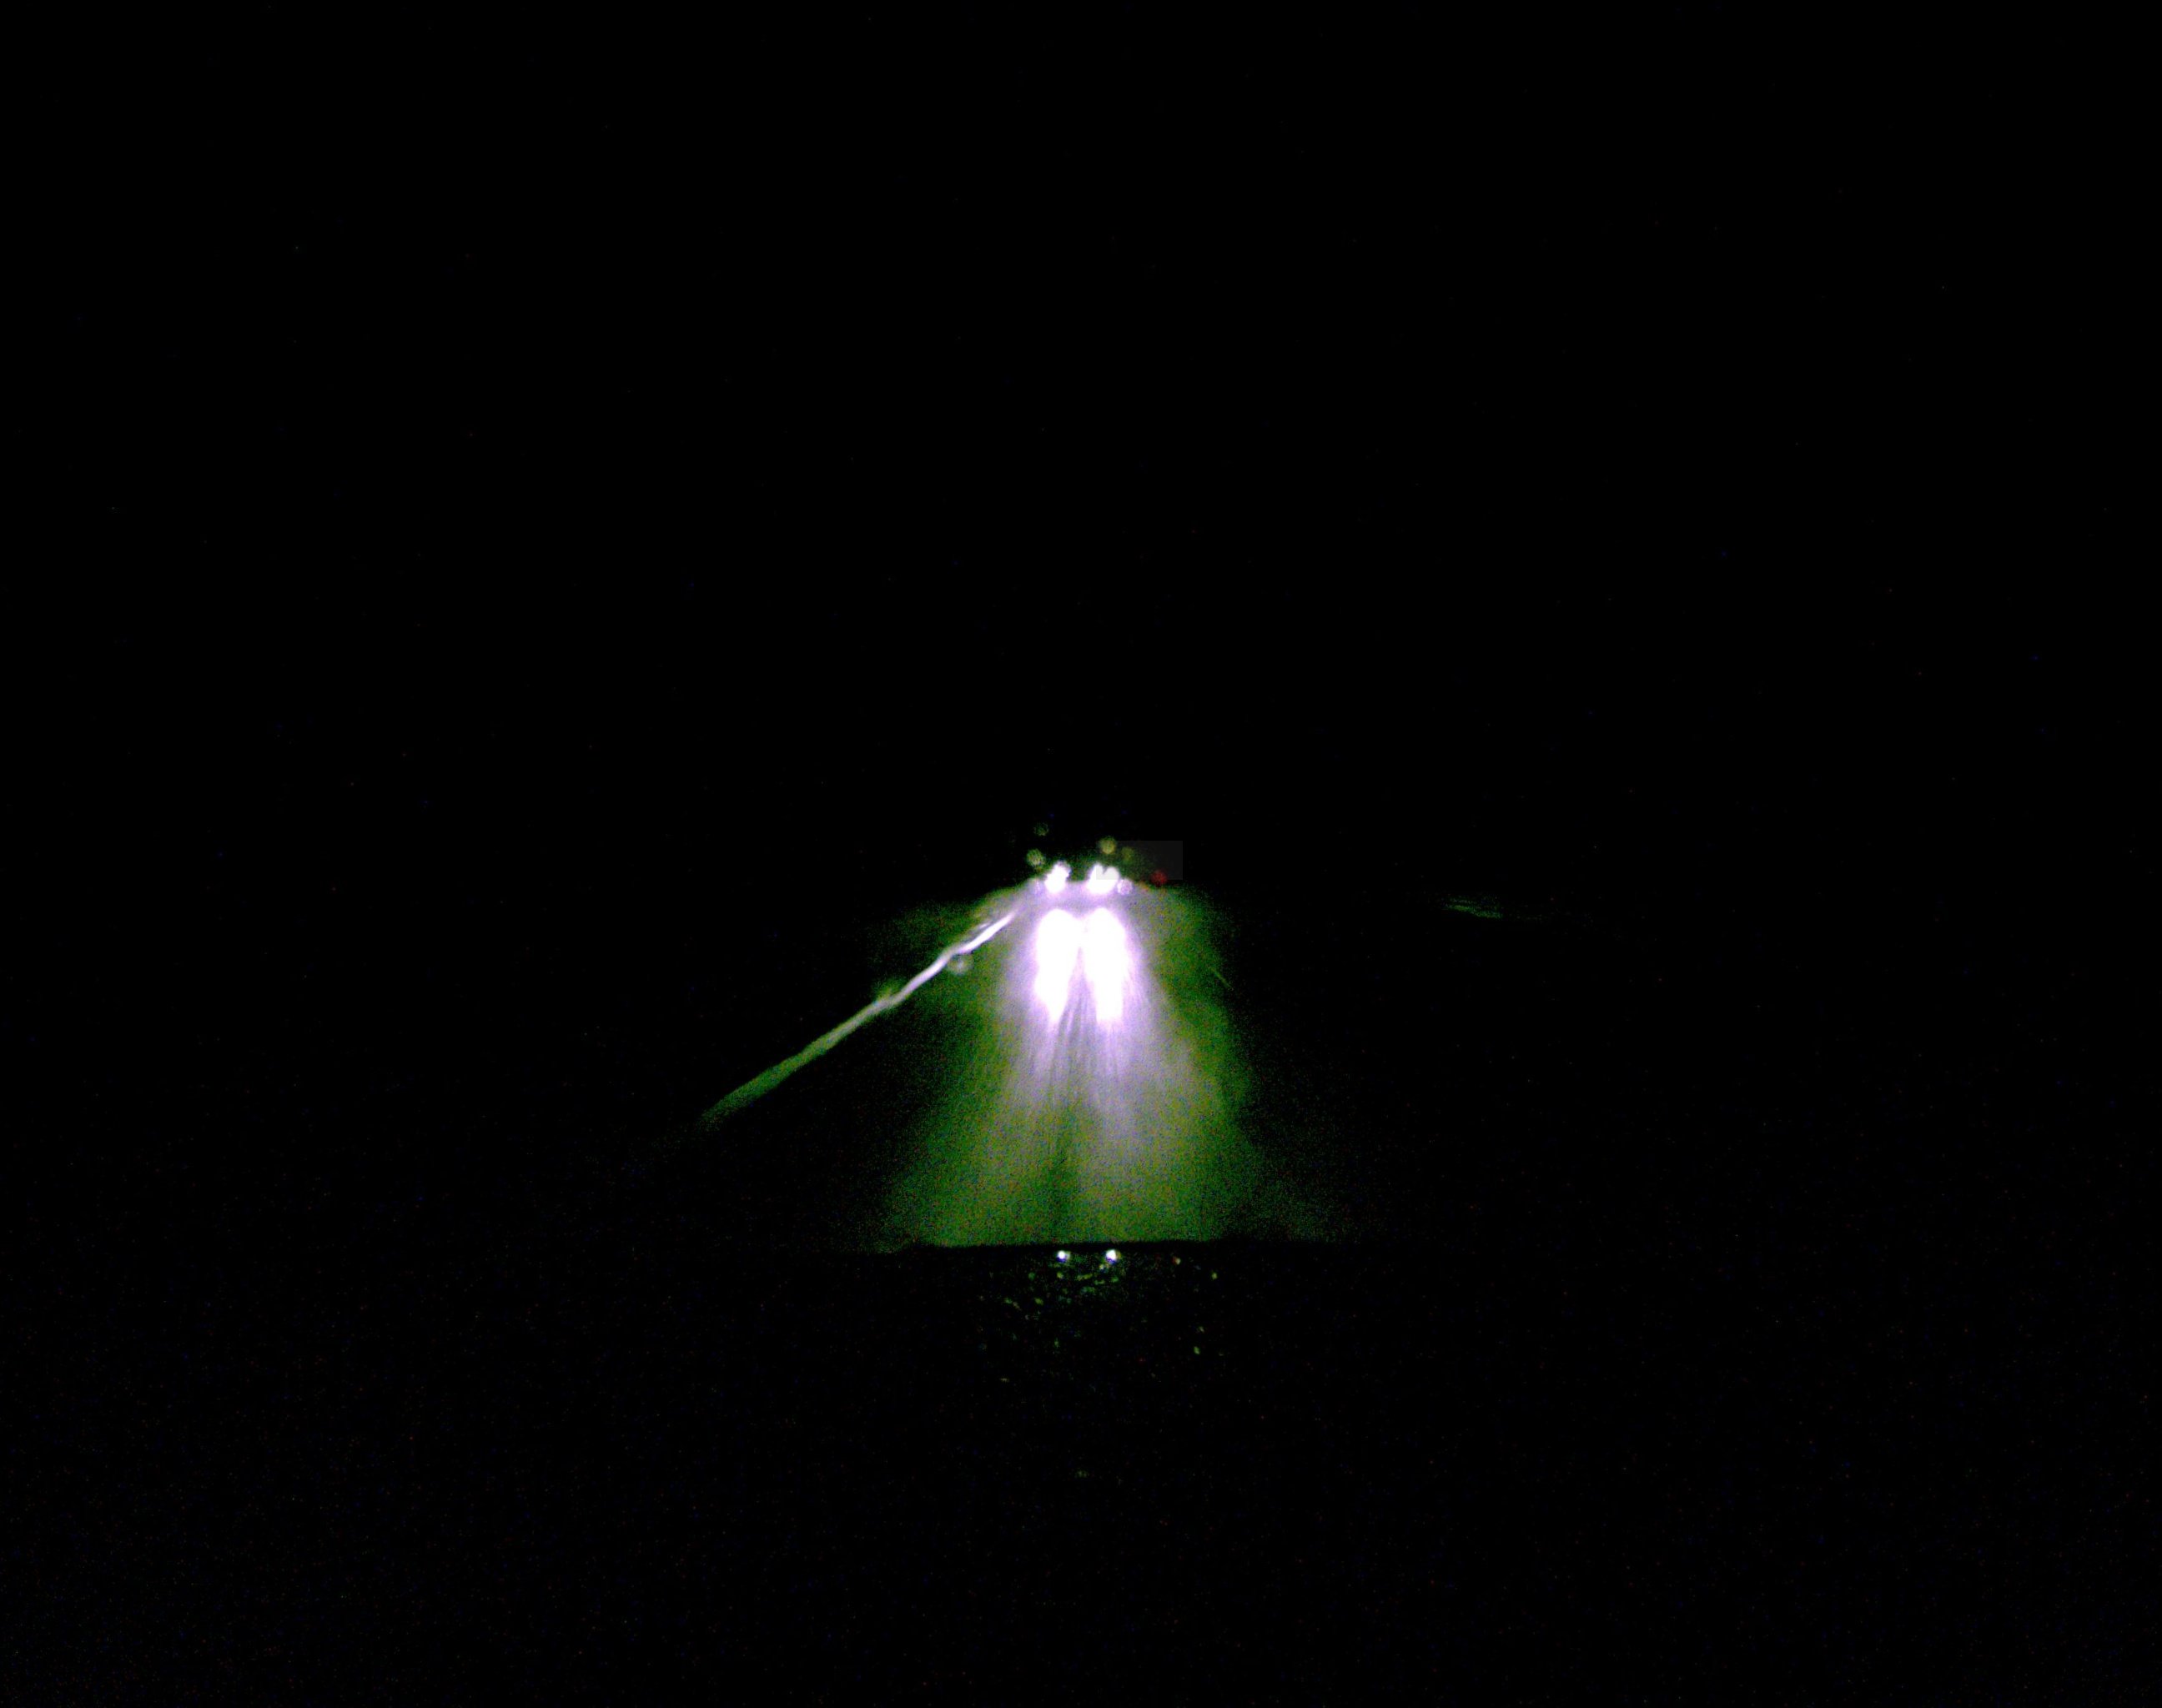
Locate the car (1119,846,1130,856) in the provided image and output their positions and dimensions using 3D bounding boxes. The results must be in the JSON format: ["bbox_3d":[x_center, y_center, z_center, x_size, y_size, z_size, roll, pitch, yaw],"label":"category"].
[{"bbox_3d":[7.872,-0.575,137.850,1.864,1.628,4.143,-2,0,2],"label":"car"}]

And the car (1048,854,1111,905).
[{"bbox_3d":[0.022,0.825,26.043,1.744,1.501,3.601,-4,0,5],"label":"car"}]

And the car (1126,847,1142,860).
[{"bbox_3d":[6.639,-0.036,94.886,1.776,1.501,3.690,-4,0,2],"label":"car"}]

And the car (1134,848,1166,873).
[{"bbox_3d":[4.497,0.392,50.193,1.924,1.463,4.574,-1,2,4],"label":"car"}]
